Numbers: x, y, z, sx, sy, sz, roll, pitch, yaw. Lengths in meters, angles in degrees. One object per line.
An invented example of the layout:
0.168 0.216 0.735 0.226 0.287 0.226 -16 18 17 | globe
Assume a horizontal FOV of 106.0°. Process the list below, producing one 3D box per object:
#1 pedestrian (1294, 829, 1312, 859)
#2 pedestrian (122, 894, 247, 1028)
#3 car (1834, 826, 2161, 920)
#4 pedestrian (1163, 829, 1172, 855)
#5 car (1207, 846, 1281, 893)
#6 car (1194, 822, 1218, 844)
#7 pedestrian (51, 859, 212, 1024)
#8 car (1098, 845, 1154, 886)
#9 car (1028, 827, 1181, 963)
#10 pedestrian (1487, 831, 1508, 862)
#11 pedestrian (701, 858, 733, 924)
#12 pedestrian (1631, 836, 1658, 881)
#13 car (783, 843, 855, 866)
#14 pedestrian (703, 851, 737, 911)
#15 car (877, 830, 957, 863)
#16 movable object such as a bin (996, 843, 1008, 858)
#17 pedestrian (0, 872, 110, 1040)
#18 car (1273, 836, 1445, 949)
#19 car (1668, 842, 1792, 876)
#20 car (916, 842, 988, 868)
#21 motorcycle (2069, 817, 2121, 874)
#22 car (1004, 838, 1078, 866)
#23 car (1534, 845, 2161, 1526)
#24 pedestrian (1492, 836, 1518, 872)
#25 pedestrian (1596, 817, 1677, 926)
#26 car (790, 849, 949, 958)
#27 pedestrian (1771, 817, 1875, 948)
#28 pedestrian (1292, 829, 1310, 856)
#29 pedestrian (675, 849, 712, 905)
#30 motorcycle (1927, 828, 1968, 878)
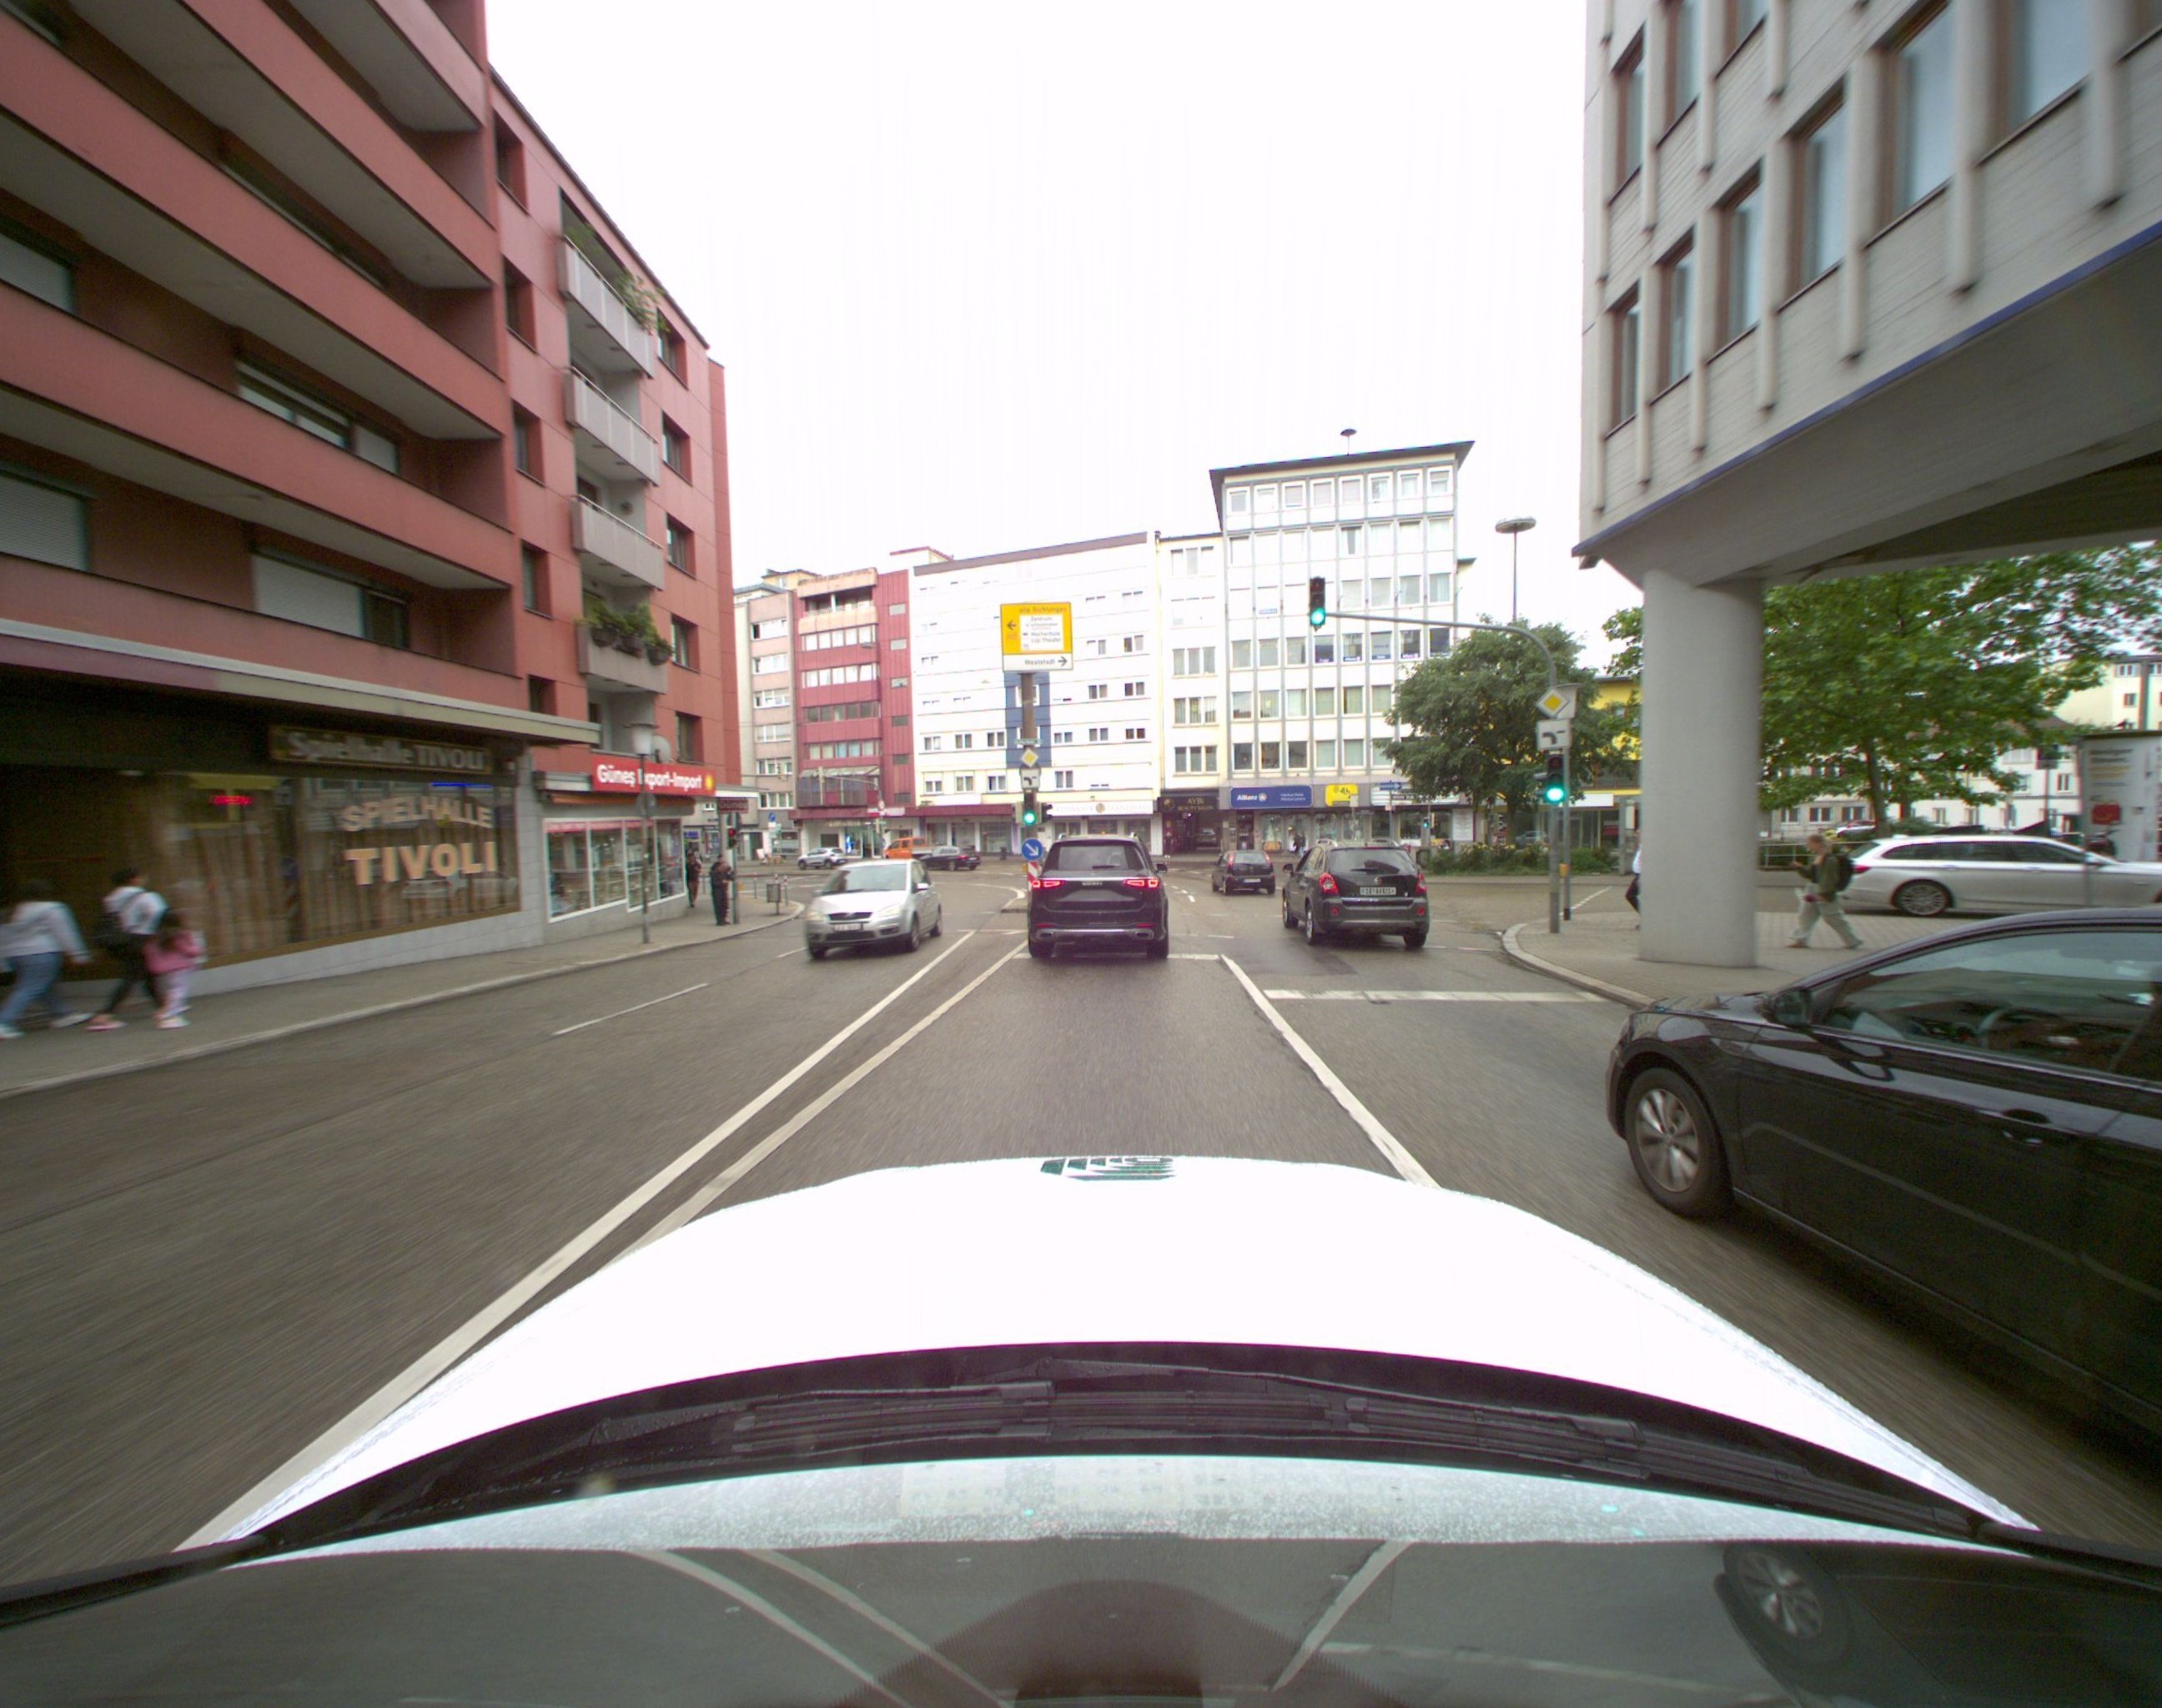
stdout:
14.054 -0.660 51.500 1.024 1.798 0.833 -1 6 9 | pedestrian
-9.503 1.105 8.663 0.533 1.323 0.721 1 0 -9 | pedestrian
16.711 0.299 14.480 4.790 1.494 1.869 -1 0 41 | car
5.878 -0.814 55.457 0.561 1.688 0.757 -1 6 6 | pedestrian
5.308 0.459 27.027 1.760 1.397 4.002 -2 0 2 | car
10.272 -1.684 66.901 1.786 1.670 4.010 -2 0 9 | car
-10.228 0.905 8.806 0.827 1.689 0.721 1 0 -9 | pedestrian
1.687 0.419 31.908 1.868 1.494 4.398 0 0 -1 | car
0.257 0.527 13.155 2.033 1.799 4.660 0 0 -2 | car
25.205 -0.439 49.279 0.890 1.827 0.675 3 -2 -17 | pedestrian
-9.668 0.974 21.629 0.553 1.697 0.623 -1 0 -4 | pedestrian
23.186 0.196 33.517 0.707 1.828 0.681 2 -3 13 | pedestrian
-18.291 0.019 56.885 4.605 1.515 1.942 1 -1 25 | car
-11.384 0.847 25.697 0.760 1.848 0.842 -1 0 -8 | pedestrian
-11.655 -0.525 57.777 5.360 2.228 2.263 0 0 28 | car
-5.646 -0.281 58.260 0.539 0.950 0.614 -9 9 -29 | movable object such as a bin
-10.453 0.971 8.032 0.827 1.561 0.721 1 0 -9 | pedestrian
4.701 0.546 14.498 1.888 1.695 4.512 0 1 5 | car
30.589 0.206 38.512 4.157 1.412 1.837 0 5 14 | car
-7.979 0.067 50.121 4.182 1.486 2.013 -2 0 37 | car
23.647 -0.215 18.986 2.101 1.116 0.622 -7 4 -35 | motorcycle
-2.520 -0.131 50.874 4.437 1.658 1.840 0 -1 37 | car
3.236 0.743 2.408 1.681 1.477 4.003 2 0 3 | car
22.178 -0.011 42.619 0.821 1.827 0.890 1 1 -3 | pedestrian
9.723 0.308 14.272 0.720 1.818 0.828 -3 -1 -6 | pedestrian
-3.630 0.781 14.752 1.730 1.592 4.174 -4 0 -1 | car
10.044 0.372 11.064 0.715 1.689 0.834 -4 -1 21 | pedestrian
14.281 -0.761 52.957 1.024 1.688 0.832 -1 6 9 | pedestrian
-13.036 0.772 27.409 0.714 1.831 0.835 -1 0 34 | pedestrian
22.575 -0.040 21.248 0.621 1.116 1.954 -1 5 44 | motorcycle
